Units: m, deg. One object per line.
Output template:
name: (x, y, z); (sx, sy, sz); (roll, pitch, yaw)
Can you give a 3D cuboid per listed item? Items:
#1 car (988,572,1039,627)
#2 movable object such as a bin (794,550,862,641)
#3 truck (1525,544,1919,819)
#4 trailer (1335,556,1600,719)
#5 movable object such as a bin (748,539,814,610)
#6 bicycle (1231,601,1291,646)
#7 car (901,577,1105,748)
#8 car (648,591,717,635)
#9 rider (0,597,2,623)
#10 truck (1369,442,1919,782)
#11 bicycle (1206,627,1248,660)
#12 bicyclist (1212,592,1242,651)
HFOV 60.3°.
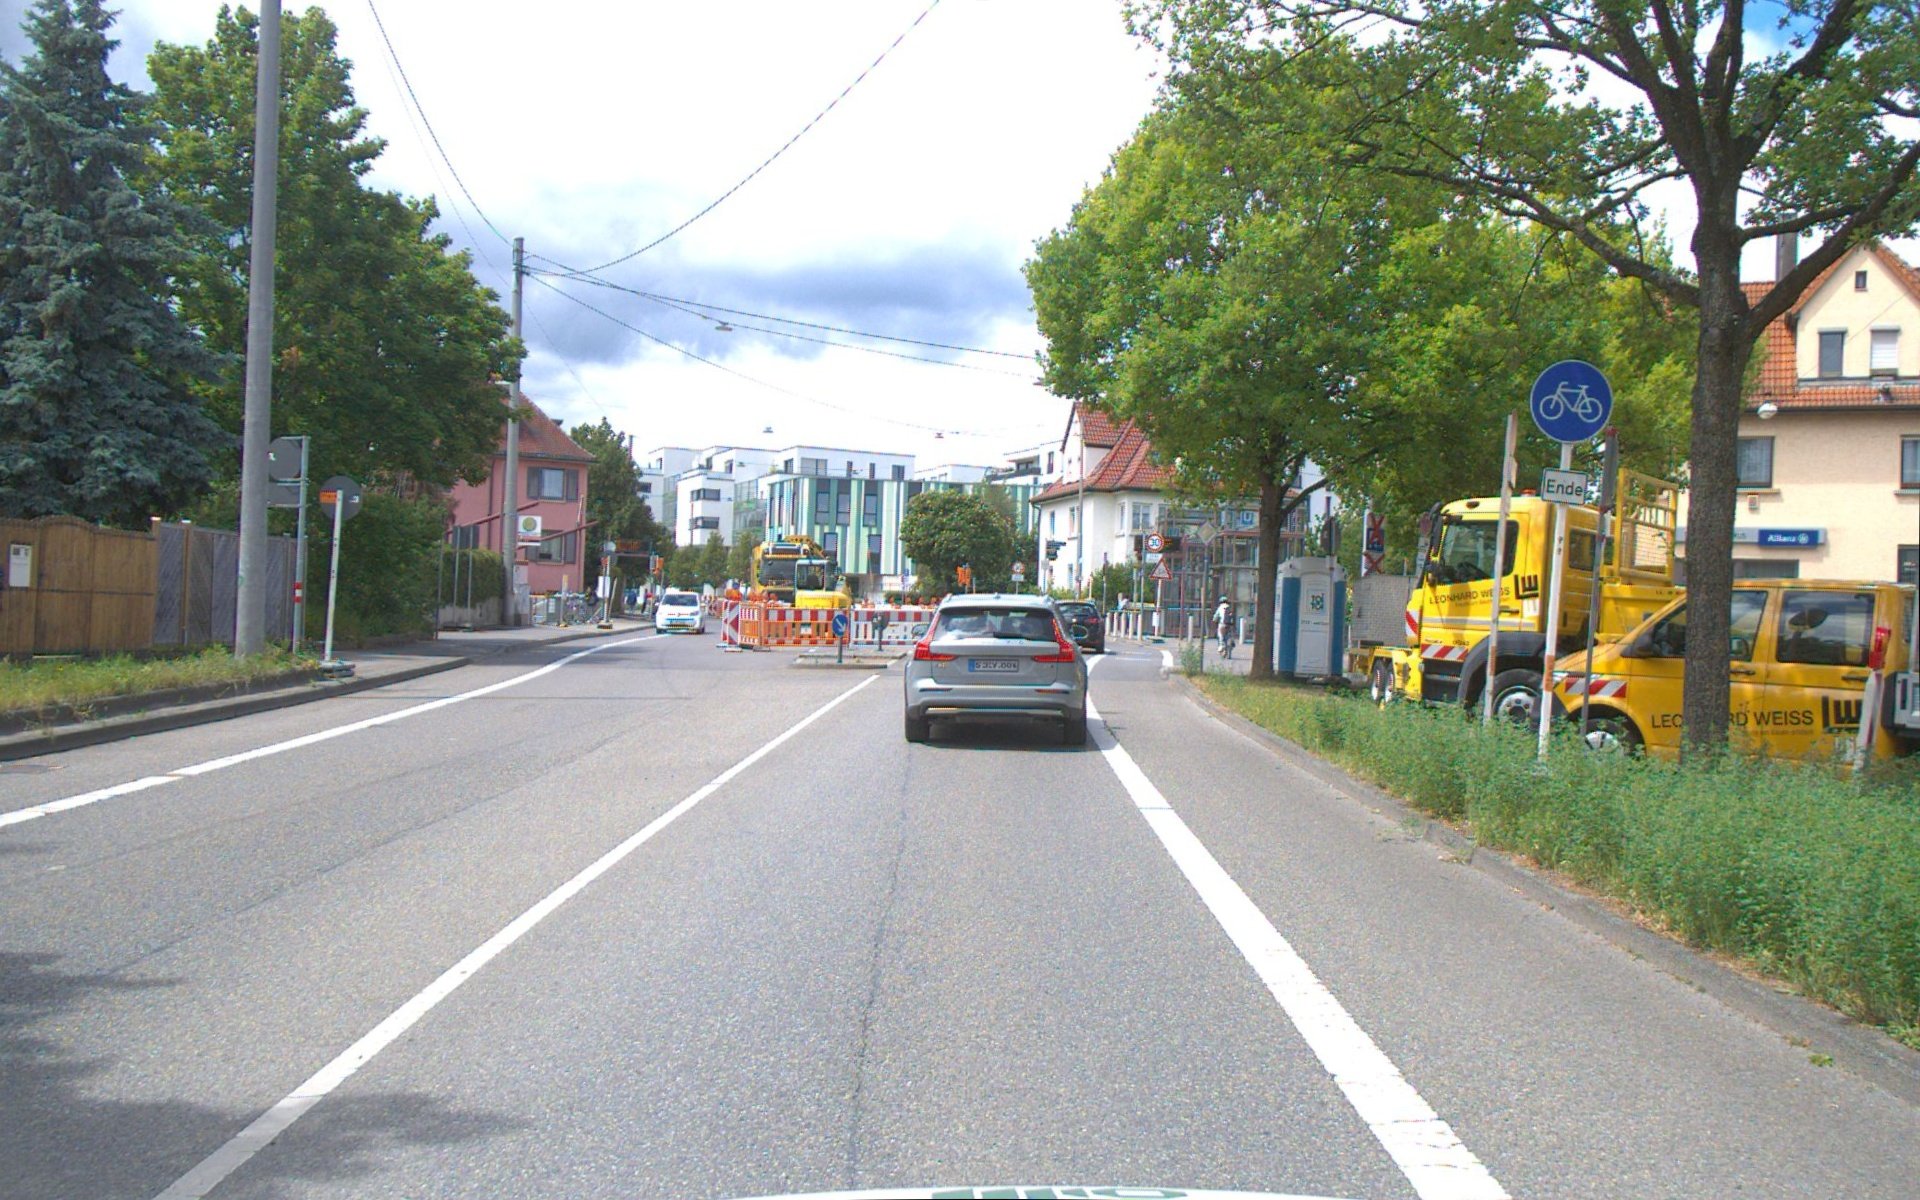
car: (2.296, 0.020, 70.148); (1.952, 2.048, 4.001); (4, -1, 3)
movable object such as a bin: (-4.255, -0.150, 53.397); (1.995, 2.689, 5.934); (2, 0, -4)
truck: (7.767, 0.696, 13.555); (1.985, 2.048, 5.586); (6, -2, -44)
trailer: (7.451, 0.518, 24.998); (2.340, 2.067, 5.513); (3, 0, 1)
movable object such as a bin: (-8.239, -1.147, 75.689); (2.270, 3.042, 6.407); (2, 0, -12)
bicycle: (10.027, 0.764, 55.283); (1.363, 1.210, 3.472); (4, 2, 1)
car: (0.508, 0.585, 17.611); (1.888, 1.567, 4.002); (1, 0, 3)
car: (-10.061, 0.507, 60.195); (1.849, 1.534, 3.999); (0, -1, 0)
rider: (-10.198, 0.305, 16.623); (0.715, 0.747, 0.689); (5, -2, -6)
truck: (8.005, 0.108, 17.300); (6.587, 3.060, 2.754); (3, -2, 42)
bicycle: (7.329, 1.195, 45.479); (0.583, 0.826, 1.750); (5, -1, -8)
bicyclist: (7.352, 0.588, 45.604); (0.578, 1.586, 0.565); (4, -2, -8)
